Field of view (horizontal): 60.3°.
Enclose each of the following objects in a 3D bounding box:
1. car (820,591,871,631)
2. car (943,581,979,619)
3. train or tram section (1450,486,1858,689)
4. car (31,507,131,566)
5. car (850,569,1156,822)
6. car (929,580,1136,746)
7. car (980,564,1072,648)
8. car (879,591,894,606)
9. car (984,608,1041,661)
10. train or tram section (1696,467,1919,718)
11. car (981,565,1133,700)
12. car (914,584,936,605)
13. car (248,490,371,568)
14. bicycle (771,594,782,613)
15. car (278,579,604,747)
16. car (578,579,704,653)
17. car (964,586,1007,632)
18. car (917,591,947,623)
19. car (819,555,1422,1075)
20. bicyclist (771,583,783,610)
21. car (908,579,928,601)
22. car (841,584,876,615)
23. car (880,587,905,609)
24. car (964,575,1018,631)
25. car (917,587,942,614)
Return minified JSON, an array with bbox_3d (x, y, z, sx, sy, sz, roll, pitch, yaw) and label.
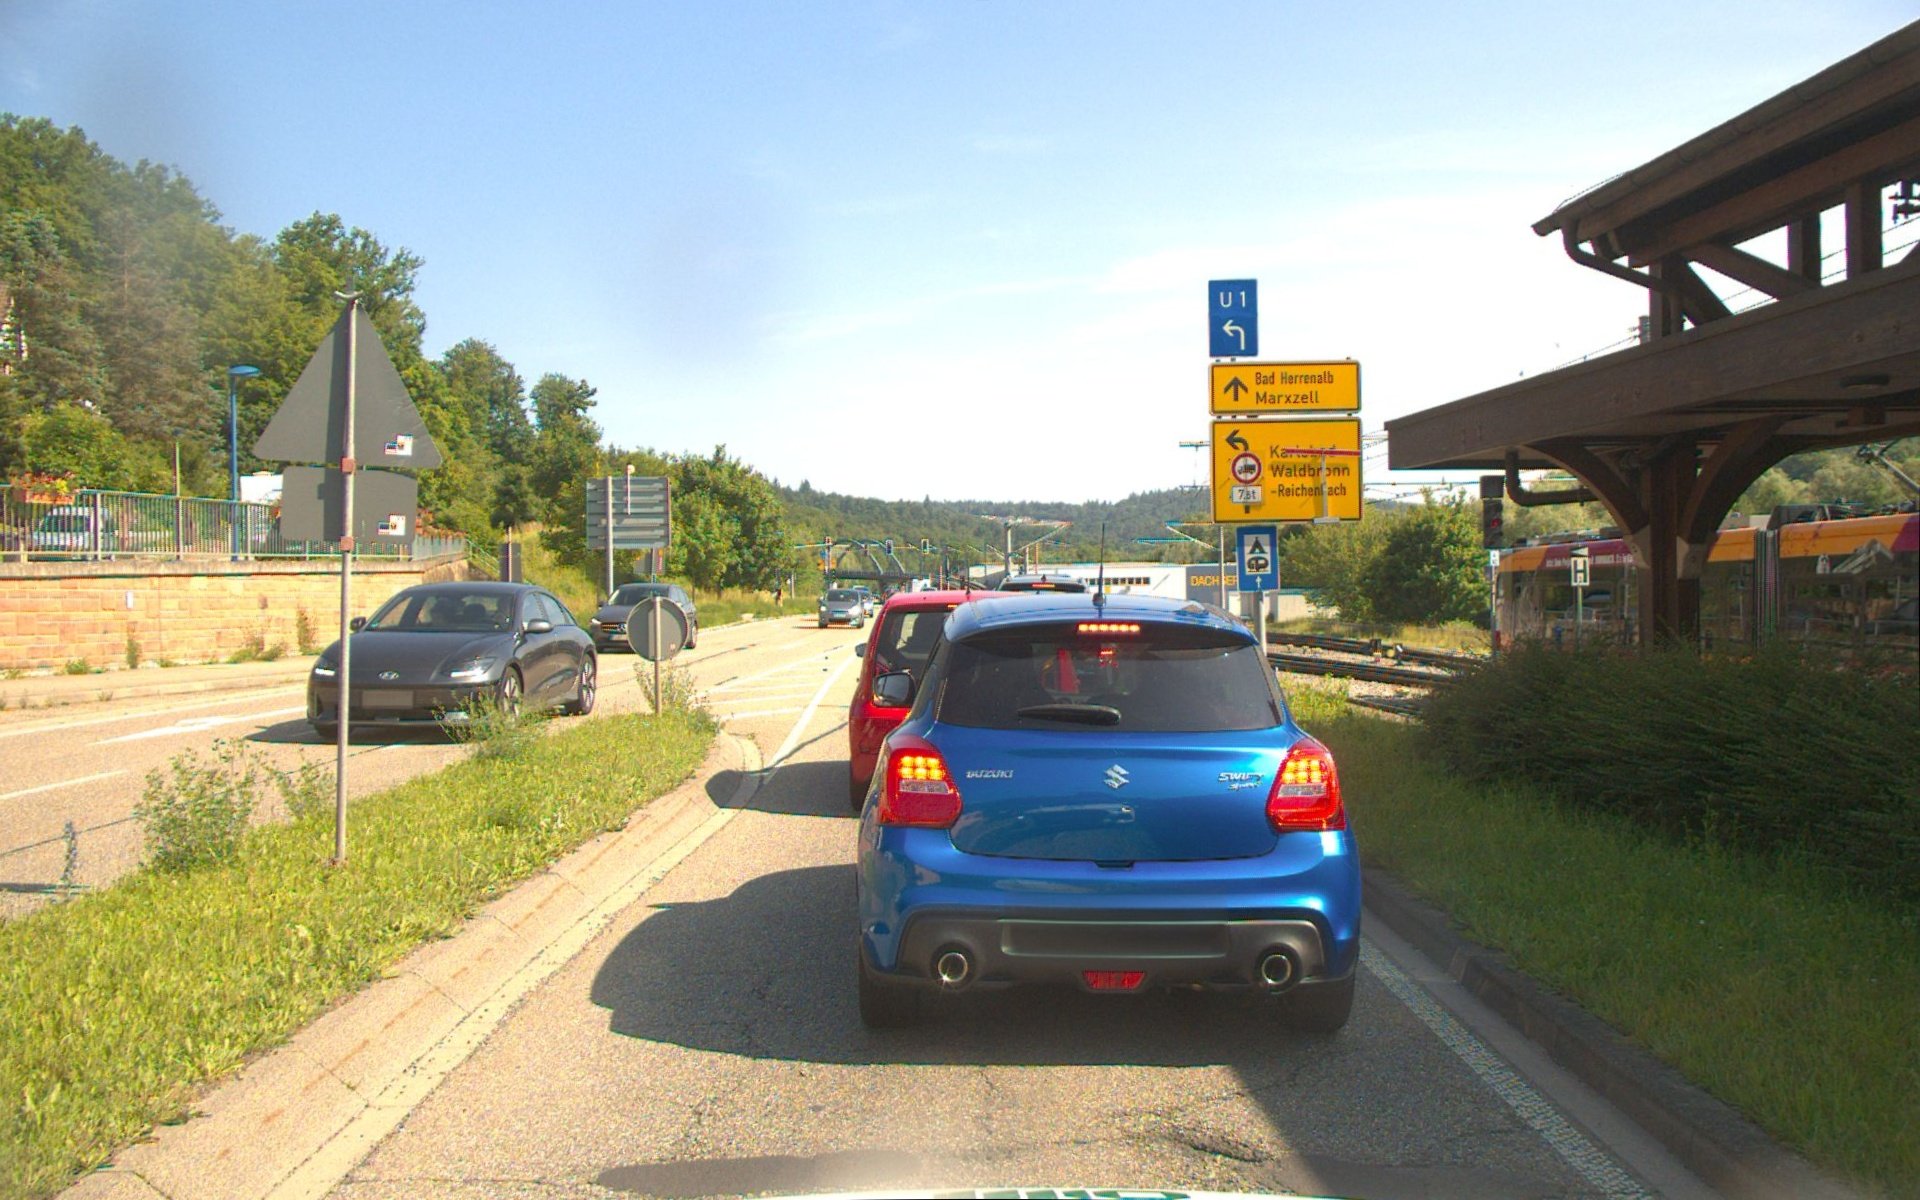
[{"bbox_3d":[-4.334,0.399,63.003,1.637,1.466,3.840,1,0,1],"label":"car"},{"bbox_3d":[0.052,-0.010,95.844,1.953,2.048,4.000,2,1,-1],"label":"car"},{"bbox_3d":[13.753,-0.308,34.496,2.701,3.422,12.040,2,1,-4],"label":"train or tram section"},{"bbox_3d":[-26.152,-1.854,49.340,1.864,1.658,3.982,0,1,-16],"label":"car"},{"bbox_3d":[0.305,0.614,12.707,1.952,1.598,4.000,1,0,1],"label":"car"},{"bbox_3d":[0.720,0.576,17.981,1.952,1.558,4.602,0,1,1],"label":"car"},{"bbox_3d":[1.459,0.119,37.996,1.952,1.766,4.000,2,1,1],"label":"car"},{"bbox_3d":[-10.543,-0.252,236.892,1.953,2.049,3.999,1,0,-1],"label":"car"},{"bbox_3d":[1.736,1.129,55.042,1.794,1.519,3.812,2,1,1],"label":"car"},{"bbox_3d":[14.397,-0.067,22.621,2.731,3.423,12.041,2,0,-3],"label":"train or tram section"},{"bbox_3d":[1.306,0.408,24.075,1.952,1.716,4.497,2,1,1],"label":"car"},{"bbox_3d":[-3.207,-0.508,153.336,1.953,1.848,4.000,2,1,-1],"label":"car"},{"bbox_3d":[-17.735,-1.899,45.296,1.982,1.953,4.724,2,1,-7],"label":"car"},{"bbox_3d":[-10.687,0.216,96.319,0.555,1.061,1.550,2,1,-4],"label":"bicycle"},{"bbox_3d":[-5.160,0.542,17.175,1.754,1.496,4.717,0,0,2],"label":"car"},{"bbox_3d":[-7.301,0.333,38.294,1.952,1.591,4.510,0,1,1],"label":"car"},{"bbox_3d":[1.218,0.422,80.880,1.953,2.048,4.000,2,1,-1],"label":"car"},{"bbox_3d":[-1.936,0.450,113.434,1.953,2.048,4.000,2,1,-1],"label":"car"},{"bbox_3d":[0.444,0.643,7.039,1.830,1.575,3.999,1,0,-2],"label":"car"},{"bbox_3d":[-10.667,-0.195,96.339,0.617,1.533,0.505,2,1,-4],"label":"bicyclist"},{"bbox_3d":[-4.312,-1.062,170.736,1.953,2.181,4.719,1,0,-1],"label":"car"},{"bbox_3d":[-5.598,-0.045,91.831,1.796,1.493,3.810,2,3,-2],"label":"car"},{"bbox_3d":[-5.665,-0.163,139.929,1.953,1.814,3.999,1,0,-1],"label":"car"},{"bbox_3d":[1.192,0.073,65.569,1.953,2.048,4.000,2,1,-1],"label":"car"},{"bbox_3d":[-2.447,-0.006,134.609,1.953,2.048,4.000,2,1,-1],"label":"car"}]
